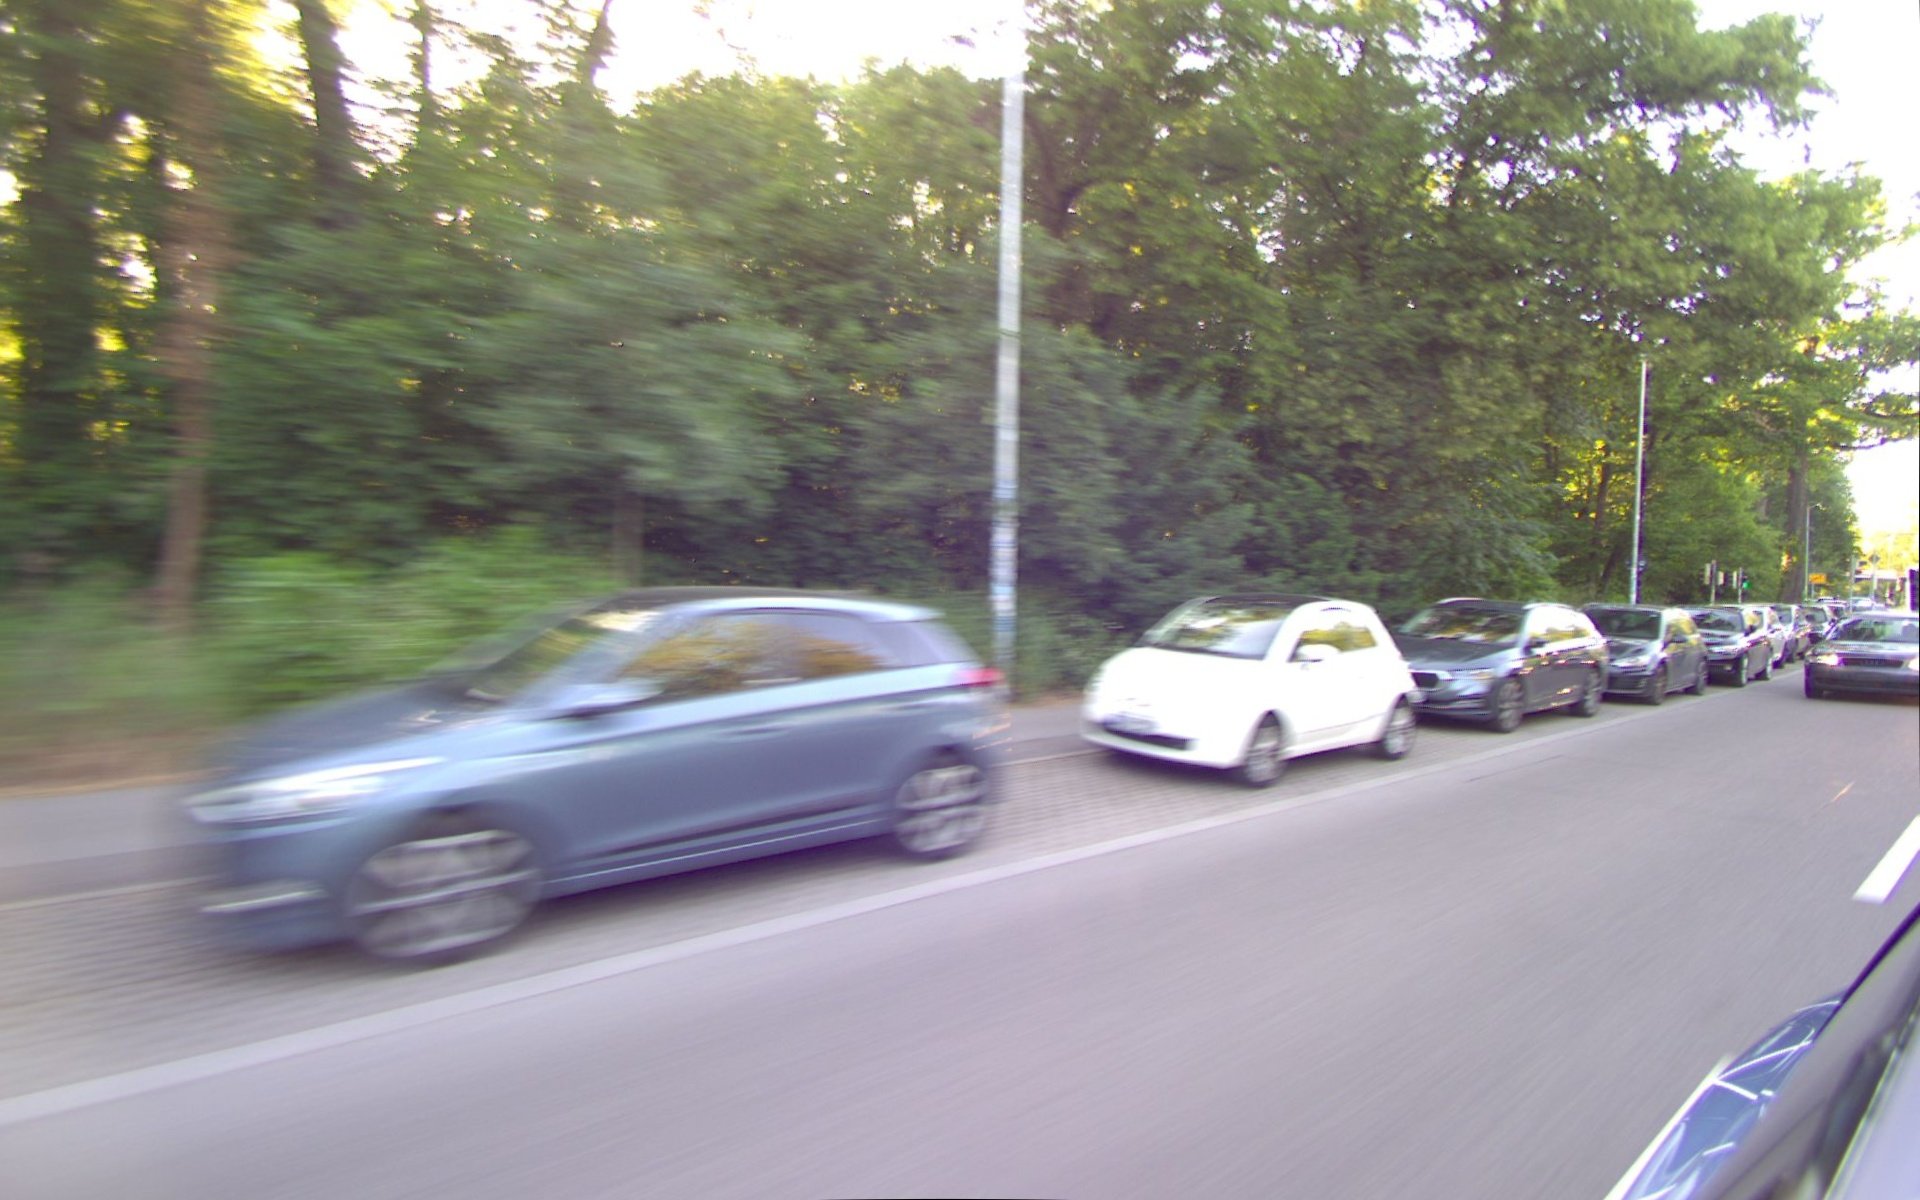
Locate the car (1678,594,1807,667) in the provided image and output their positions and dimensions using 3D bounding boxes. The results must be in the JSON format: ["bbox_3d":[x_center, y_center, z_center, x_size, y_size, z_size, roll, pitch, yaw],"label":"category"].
[{"bbox_3d":[17.924,0.619,23.120,4.056,1.429,1.720,-1,3,-44],"label":"car"}]

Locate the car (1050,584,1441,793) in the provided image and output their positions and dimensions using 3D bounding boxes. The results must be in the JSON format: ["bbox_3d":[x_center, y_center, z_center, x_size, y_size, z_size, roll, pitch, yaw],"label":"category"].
[{"bbox_3d":[2.695,0.623,9.200,3.624,1.482,1.681,0,2,-41],"label":"car"}]

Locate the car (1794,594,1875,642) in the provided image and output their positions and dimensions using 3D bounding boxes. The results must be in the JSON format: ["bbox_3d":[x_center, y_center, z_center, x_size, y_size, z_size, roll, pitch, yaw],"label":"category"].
[{"bbox_3d":[30.244,0.592,34.969,3.694,1.487,1.720,-1,3,-44],"label":"car"}]

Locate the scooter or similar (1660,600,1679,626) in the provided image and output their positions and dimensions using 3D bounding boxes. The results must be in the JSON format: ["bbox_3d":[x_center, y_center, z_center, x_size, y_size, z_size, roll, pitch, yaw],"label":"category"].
[{"bbox_3d":[32.464,0.594,46.311,1.201,1.158,0.379,0,1,-39],"label":"scooter or similar"}]

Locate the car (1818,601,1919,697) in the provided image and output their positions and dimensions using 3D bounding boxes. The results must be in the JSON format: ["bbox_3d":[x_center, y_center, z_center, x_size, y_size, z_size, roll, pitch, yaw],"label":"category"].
[{"bbox_3d":[15.380,0.730,16.477,3.926,1.376,1.677,0,0,-42],"label":"car"}]

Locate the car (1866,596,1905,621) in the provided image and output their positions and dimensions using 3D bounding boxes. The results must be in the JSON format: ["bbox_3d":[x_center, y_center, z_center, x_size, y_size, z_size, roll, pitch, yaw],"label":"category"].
[{"bbox_3d":[62.182,0.547,67.953,1.763,1.487,5.036,3,3,44],"label":"car"}]

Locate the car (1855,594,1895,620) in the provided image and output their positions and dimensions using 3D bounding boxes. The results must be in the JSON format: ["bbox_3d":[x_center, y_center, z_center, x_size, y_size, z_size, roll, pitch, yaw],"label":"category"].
[{"bbox_3d":[58.000,0.408,64.193,1.716,1.487,3.817,3,2,41],"label":"car"}]

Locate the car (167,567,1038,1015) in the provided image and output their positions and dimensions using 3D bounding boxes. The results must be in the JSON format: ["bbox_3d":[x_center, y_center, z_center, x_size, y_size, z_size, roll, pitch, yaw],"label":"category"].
[{"bbox_3d":[-1.615,0.609,5.321,3.994,1.482,1.681,0,2,-40],"label":"car"}]

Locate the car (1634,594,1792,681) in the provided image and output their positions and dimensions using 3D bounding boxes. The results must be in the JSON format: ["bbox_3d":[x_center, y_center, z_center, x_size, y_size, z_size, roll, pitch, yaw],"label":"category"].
[{"bbox_3d":[14.652,0.632,19.590,4.413,1.429,1.720,-1,3,-44],"label":"car"}]

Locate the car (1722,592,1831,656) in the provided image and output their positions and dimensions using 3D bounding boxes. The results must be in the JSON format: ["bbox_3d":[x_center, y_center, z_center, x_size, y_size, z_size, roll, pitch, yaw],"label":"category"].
[{"bbox_3d":[21.820,0.582,26.995,4.133,1.487,1.720,-1,3,-44],"label":"car"}]

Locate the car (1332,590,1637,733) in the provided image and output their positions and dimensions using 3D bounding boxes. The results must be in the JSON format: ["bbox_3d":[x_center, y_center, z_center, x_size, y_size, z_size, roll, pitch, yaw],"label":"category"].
[{"bbox_3d":[6.740,0.619,12.745,4.821,1.429,1.721,0,2,-41],"label":"car"}]

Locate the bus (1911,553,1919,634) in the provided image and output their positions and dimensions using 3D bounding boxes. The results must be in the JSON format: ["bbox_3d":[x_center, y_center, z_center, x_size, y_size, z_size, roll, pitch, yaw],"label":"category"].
[{"bbox_3d":[41.769,-0.257,42.145,2.806,3.086,12.676,0,0,45],"label":"bus"}]

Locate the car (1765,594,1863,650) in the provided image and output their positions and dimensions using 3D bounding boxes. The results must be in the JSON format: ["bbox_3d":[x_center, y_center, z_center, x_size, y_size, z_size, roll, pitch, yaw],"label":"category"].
[{"bbox_3d":[25.784,0.599,30.482,4.905,1.487,1.720,-1,3,-44],"label":"car"}]

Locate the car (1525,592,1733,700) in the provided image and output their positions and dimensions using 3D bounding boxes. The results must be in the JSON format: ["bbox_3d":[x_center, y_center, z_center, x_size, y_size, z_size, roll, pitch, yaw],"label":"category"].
[{"bbox_3d":[10.765,0.622,16.158,4.411,1.429,1.721,-1,3,-42],"label":"car"}]
